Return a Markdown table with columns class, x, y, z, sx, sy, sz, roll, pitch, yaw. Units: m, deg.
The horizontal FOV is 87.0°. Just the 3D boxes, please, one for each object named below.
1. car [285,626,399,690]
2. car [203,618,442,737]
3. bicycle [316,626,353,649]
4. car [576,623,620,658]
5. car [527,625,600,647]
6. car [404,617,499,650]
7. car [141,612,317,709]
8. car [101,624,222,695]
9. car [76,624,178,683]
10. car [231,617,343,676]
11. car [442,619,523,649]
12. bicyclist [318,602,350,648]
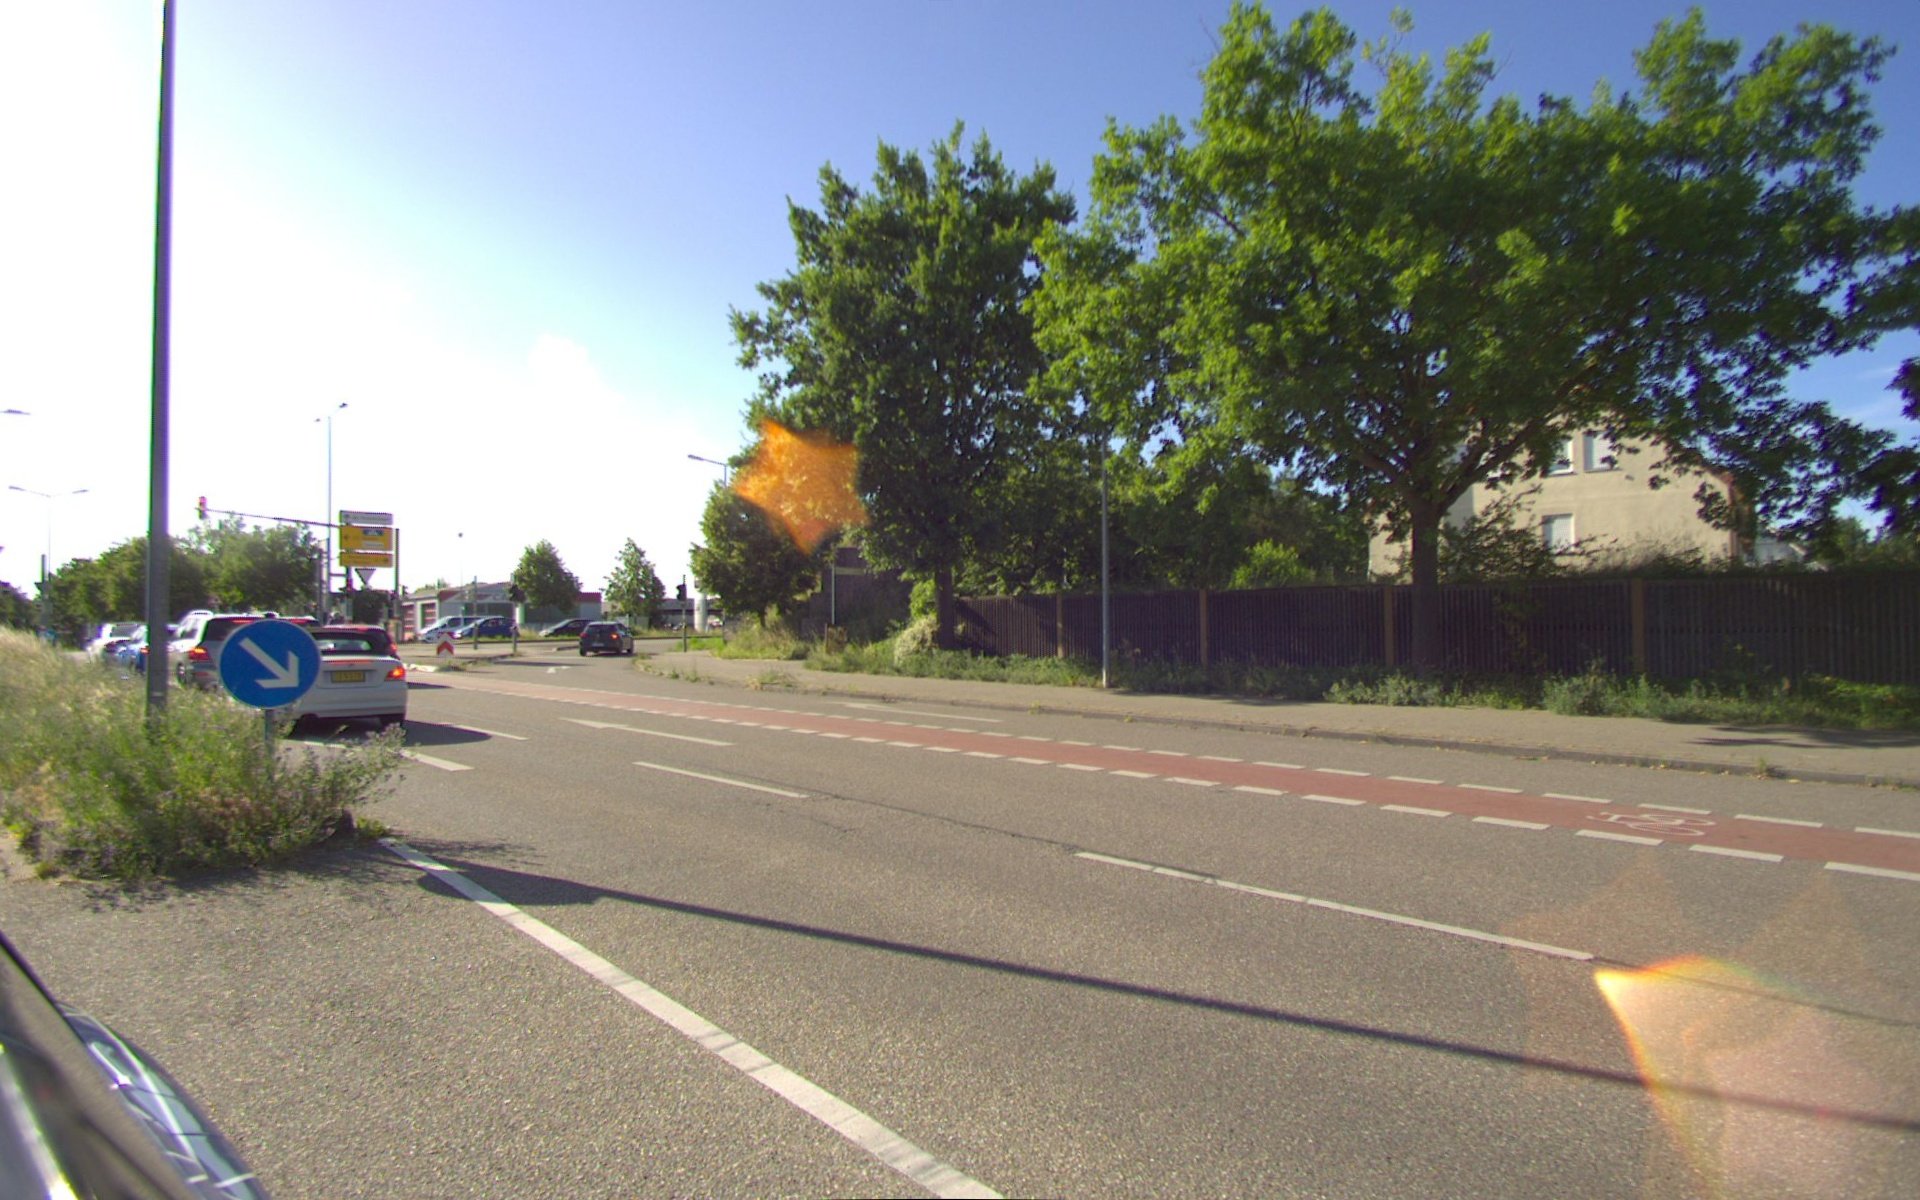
| class | x | y | z | sx | sy | sz | roll | pitch | yaw |
| --- | --- | --- | --- | --- | --- | --- | --- | --- | --- |
| car | -15.663 | 1.413 | 25.575 | 1.626 | 1.494 | 3.715 | 1 | -3 | -45 |
| car | -9.359 | 1.026 | 14.704 | 4.400 | 1.461 | 1.971 | -2 | -2 | 44 |
| bicycle | -23.735 | 1.427 | 38.388 | 1.991 | 0.854 | 0.740 | -2 | -2 | 44 |
| car | -15.699 | 1.754 | 43.994 | 1.685 | 1.442 | 4.012 | 1 | -2 | -19 |
| car | -25.360 | 2.276 | 64.828 | 1.892 | 1.284 | 3.985 | -5 | -4 | 40 |
| car | -33.177 | 2.172 | 66.150 | 2.046 | 2.029 | 5.204 | -5 | -4 | 40 |
| car | -14.030 | 1.100 | 19.329 | 4.532 | 1.628 | 1.971 | -2 | -2 | 44 |
| car | -18.400 | 1.308 | 23.256 | 1.727 | 1.494 | 3.890 | 1 | -3 | -45 |
| car | -23.337 | 1.449 | 28.298 | 1.773 | 1.517 | 4.532 | 1 | -3 | -45 |
| car | -20.443 | 1.384 | 30.663 | 1.971 | 1.656 | 4.532 | 1 | -3 | -45 |
| car | -28.664 | 2.028 | 60.803 | 1.892 | 1.657 | 3.985 | -5 | -4 | 40 |
| bicyclist | -23.833 | 0.937 | 38.504 | 1.242 | 1.715 | 0.736 | -2 | -2 | 44 |
